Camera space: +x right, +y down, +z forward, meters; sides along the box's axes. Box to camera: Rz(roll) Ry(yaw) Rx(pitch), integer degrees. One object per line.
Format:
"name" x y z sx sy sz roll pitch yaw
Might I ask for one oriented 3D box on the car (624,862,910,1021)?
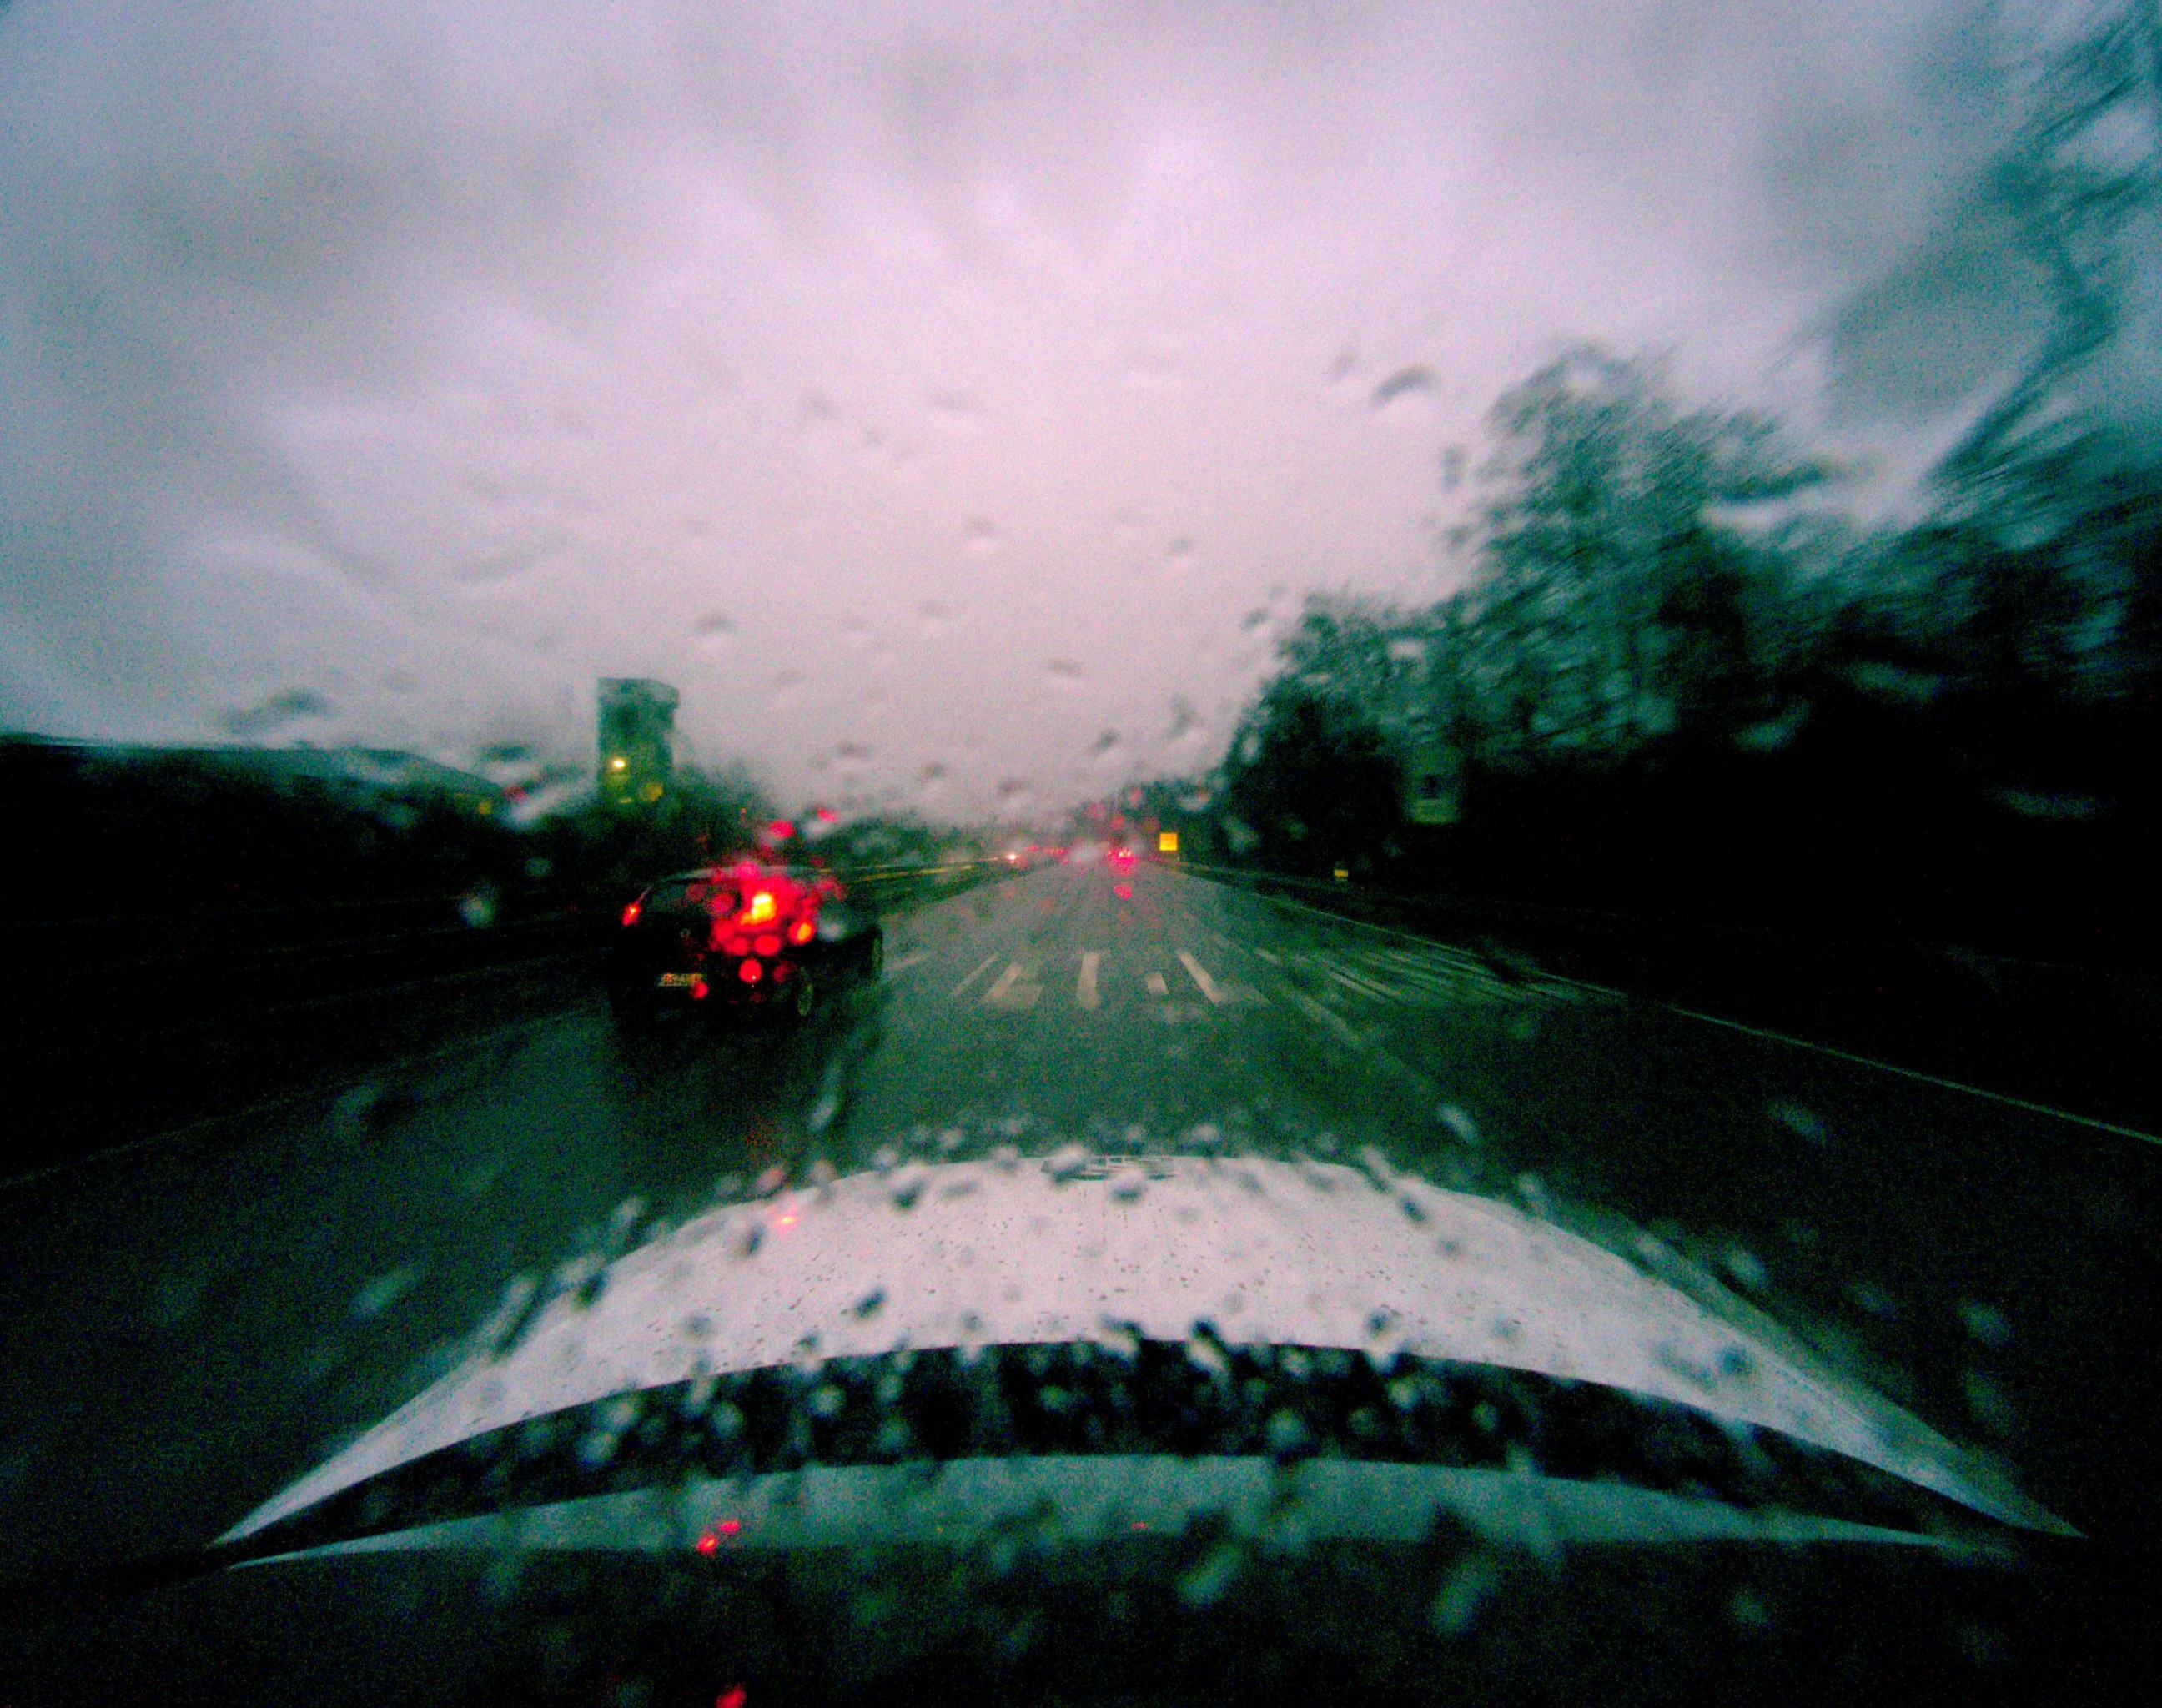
"car" -3.236 0.803 9.304 1.620 1.392 4.000 1 0 1

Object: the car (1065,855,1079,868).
"car" -0.941 0.798 87.096 1.410 1.317 3.084 1 0 2

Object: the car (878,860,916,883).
"car" -12.235 1.136 54.360 1.609 1.464 3.646 0 -1 2
